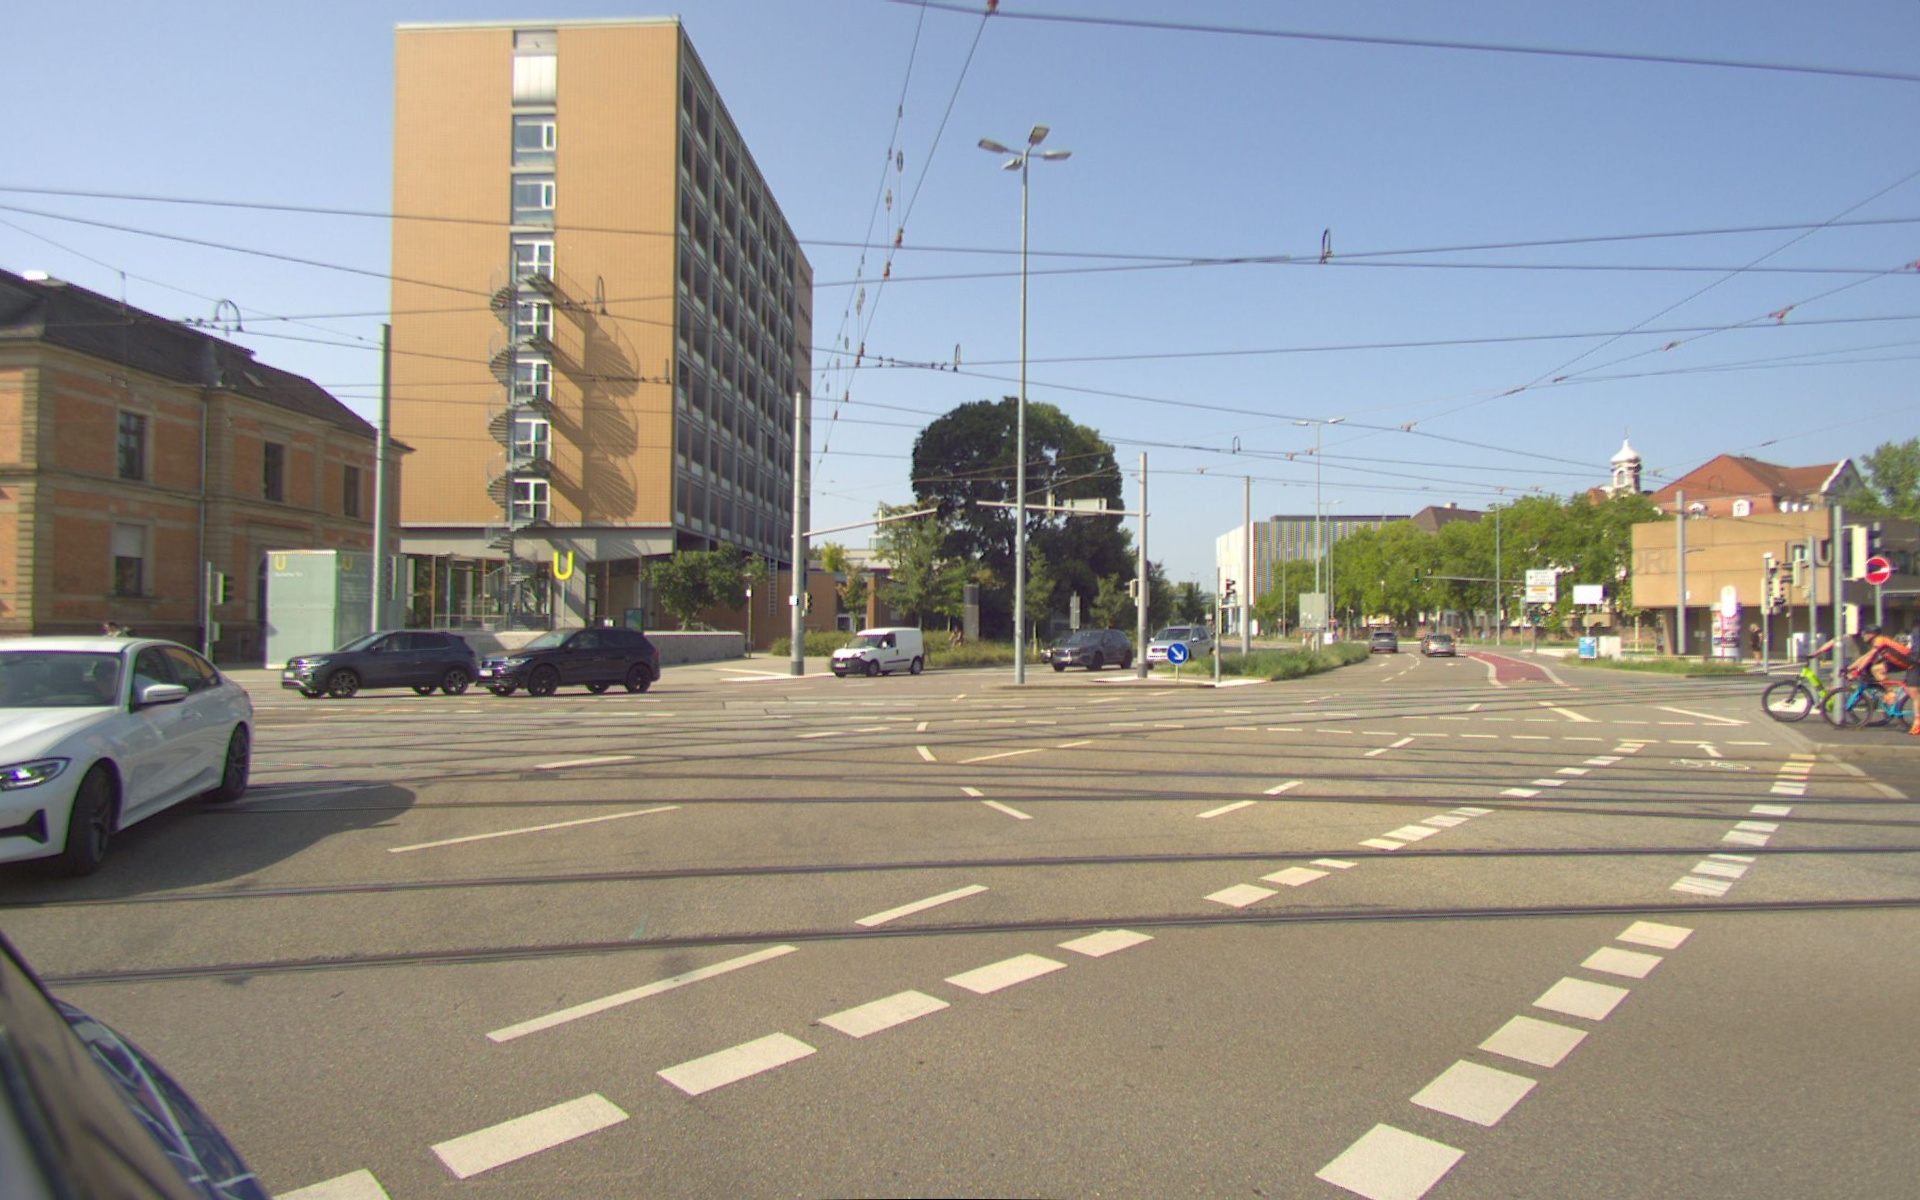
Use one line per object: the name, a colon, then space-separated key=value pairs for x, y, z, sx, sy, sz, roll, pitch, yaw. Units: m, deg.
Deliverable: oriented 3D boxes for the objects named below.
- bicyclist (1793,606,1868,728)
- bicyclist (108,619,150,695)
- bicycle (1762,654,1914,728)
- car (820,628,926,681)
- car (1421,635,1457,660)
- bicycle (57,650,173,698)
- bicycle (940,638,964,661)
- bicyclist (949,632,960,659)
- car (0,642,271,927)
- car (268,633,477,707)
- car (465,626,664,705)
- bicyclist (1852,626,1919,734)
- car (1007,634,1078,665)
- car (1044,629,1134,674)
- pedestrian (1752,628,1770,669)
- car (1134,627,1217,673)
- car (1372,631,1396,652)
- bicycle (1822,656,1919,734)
bicyclist: x=14.650 y=1.111 z=17.044 sx=0.804 sy=1.989 sz=0.575 roll=-2 pitch=-2 yaw=31
bicyclist: x=-20.844 y=1.420 z=25.387 sx=0.782 sy=1.876 sz=0.700 roll=-2 pitch=-3 yaw=44
bicycle: x=14.692 y=1.500 z=16.996 sx=1.852 sy=1.174 sz=0.373 roll=-2 pitch=-2 yaw=32
car: x=-3.278 y=2.062 z=38.902 sx=1.790 sy=1.901 sz=4.240 roll=-4 pitch=-4 yaw=33
car: x=30.197 y=2.966 z=63.901 sx=1.770 sy=1.519 sz=3.971 roll=-1 pitch=-2 yaw=21
bicycle: x=-21.007 y=1.812 z=25.190 sx=0.529 sy=1.104 sz=2.155 roll=-2 pitch=-3 yaw=44
bicycle: x=-0.432 y=2.715 z=55.566 sx=0.400 sy=1.203 sz=1.753 roll=-1 pitch=-2 yaw=32
bicyclist: x=-0.301 y=2.514 z=55.811 sx=0.396 sy=1.491 sz=0.543 roll=-1 pitch=-2 yaw=33
car: x=-6.609 y=1.050 z=7.116 sx=1.783 sy=1.438 sz=4.789 roll=0 pitch=-2 yaw=-20
car: x=-13.795 y=1.586 z=23.952 sx=1.740 sy=1.594 sz=3.928 roll=-3 pitch=-3 yaw=35
car: x=-9.421 y=1.532 z=24.415 sx=1.763 sy=1.720 sz=4.240 roll=-4 pitch=-3 yaw=33
bicyclist: x=14.493 y=1.228 z=15.728 sx=0.805 sy=1.642 sz=0.506 roll=-2 pitch=-2 yaw=31
car: x=4.174 y=2.456 z=50.539 sx=1.669 sy=1.476 sz=4.240 roll=-4 pitch=-3 yaw=33
car: x=5.334 y=2.072 z=41.485 sx=1.921 sy=1.720 sz=4.240 roll=-4 pitch=-3 yaw=33
pedestrian: x=35.829 y=2.161 z=45.268 sx=0.549 sy=1.782 sz=0.404 roll=1 pitch=-2 yaw=-28
car: x=8.831 y=2.015 z=41.286 sx=1.946 sy=1.720 sz=4.243 roll=-3 pitch=-3 yaw=32
car: x=30.398 y=2.986 z=72.637 sx=1.483 sy=1.462 sz=3.499 roll=-1 pitch=-2 yaw=21
bicycle: x=14.453 y=1.465 z=15.757 sx=1.494 sy=1.174 sz=0.308 roll=-2 pitch=-2 yaw=32
